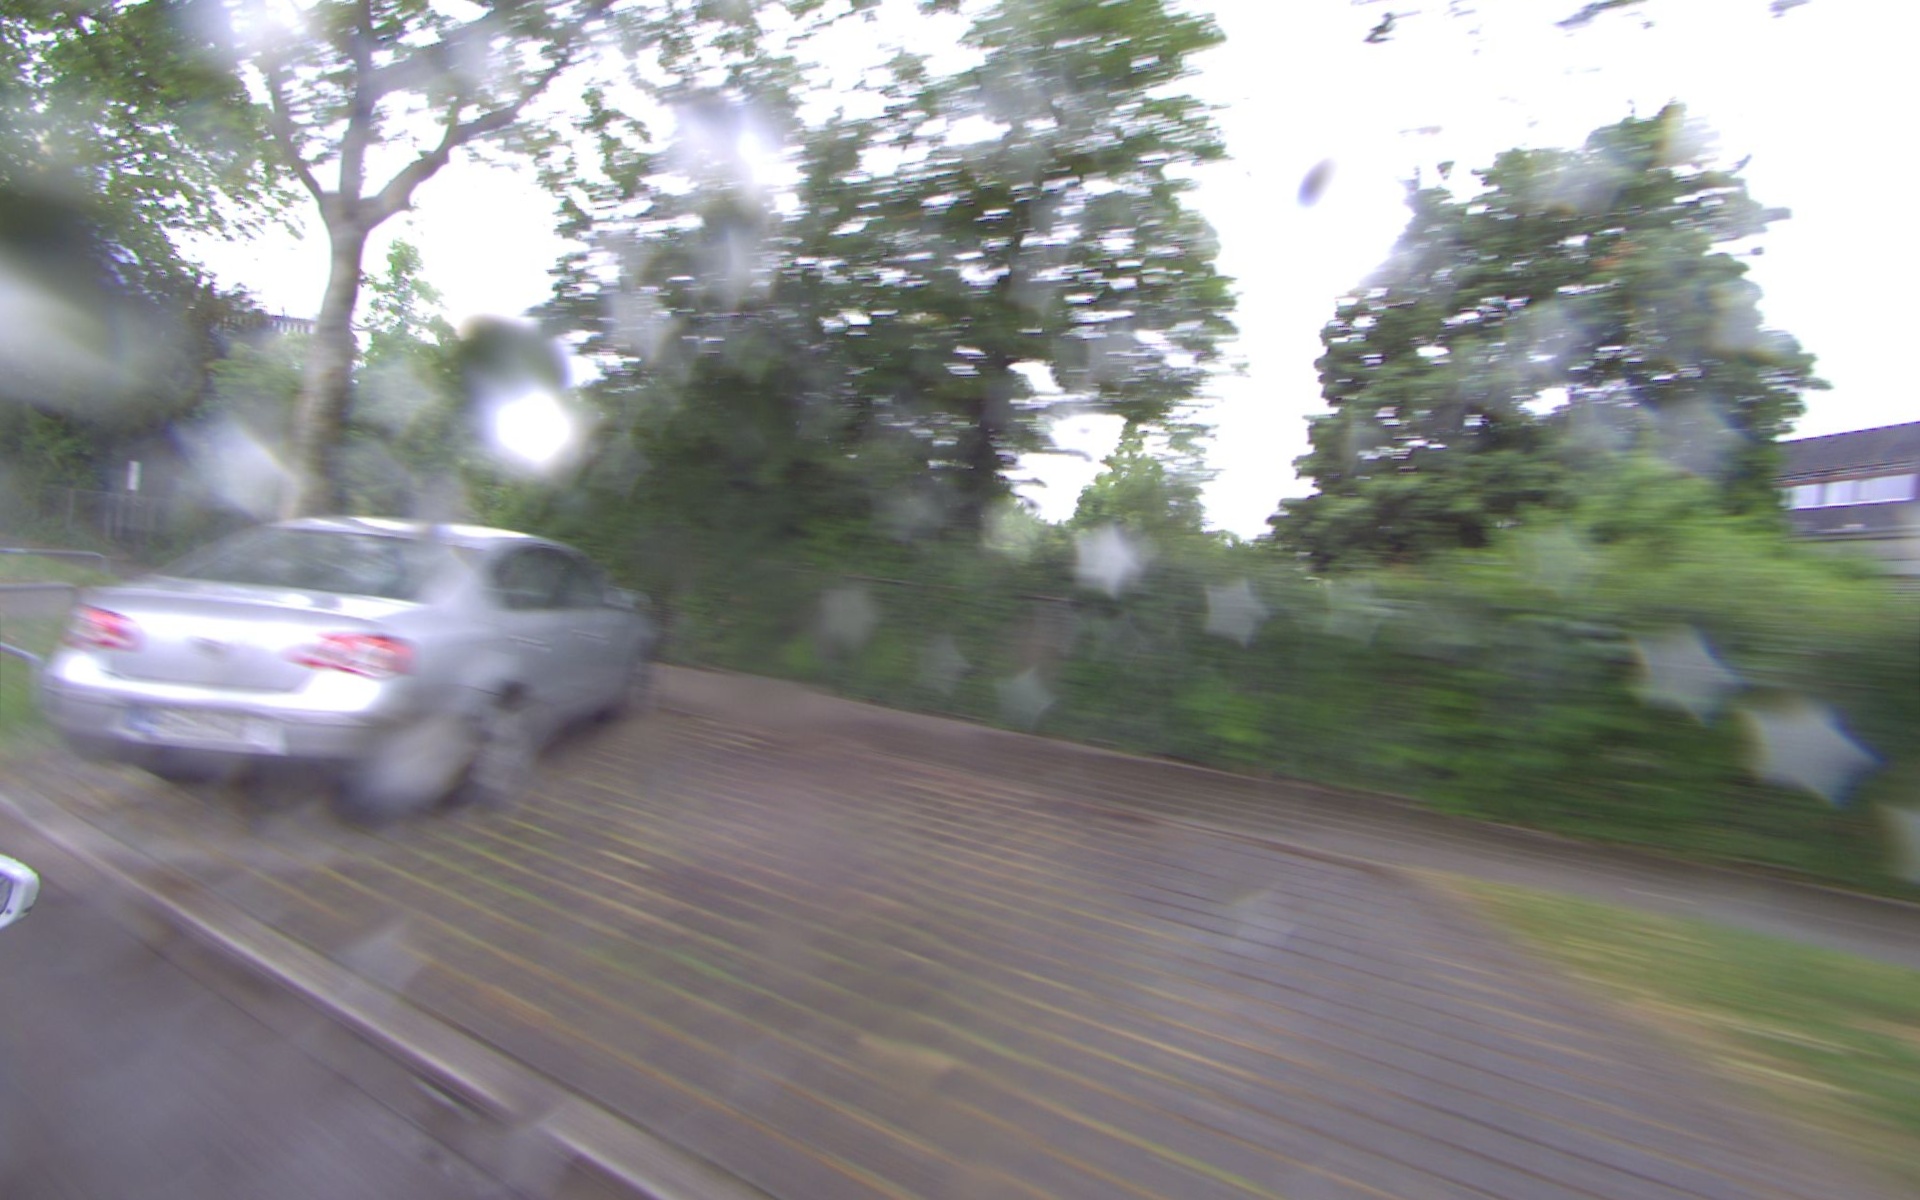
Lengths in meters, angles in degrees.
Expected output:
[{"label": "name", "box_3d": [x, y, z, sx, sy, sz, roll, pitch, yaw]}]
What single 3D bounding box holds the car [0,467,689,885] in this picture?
[{"label": "car", "box_3d": [-3.329, 0.187, 6.444, 1.853, 1.566, 4.552, 6, 4, -1]}]
